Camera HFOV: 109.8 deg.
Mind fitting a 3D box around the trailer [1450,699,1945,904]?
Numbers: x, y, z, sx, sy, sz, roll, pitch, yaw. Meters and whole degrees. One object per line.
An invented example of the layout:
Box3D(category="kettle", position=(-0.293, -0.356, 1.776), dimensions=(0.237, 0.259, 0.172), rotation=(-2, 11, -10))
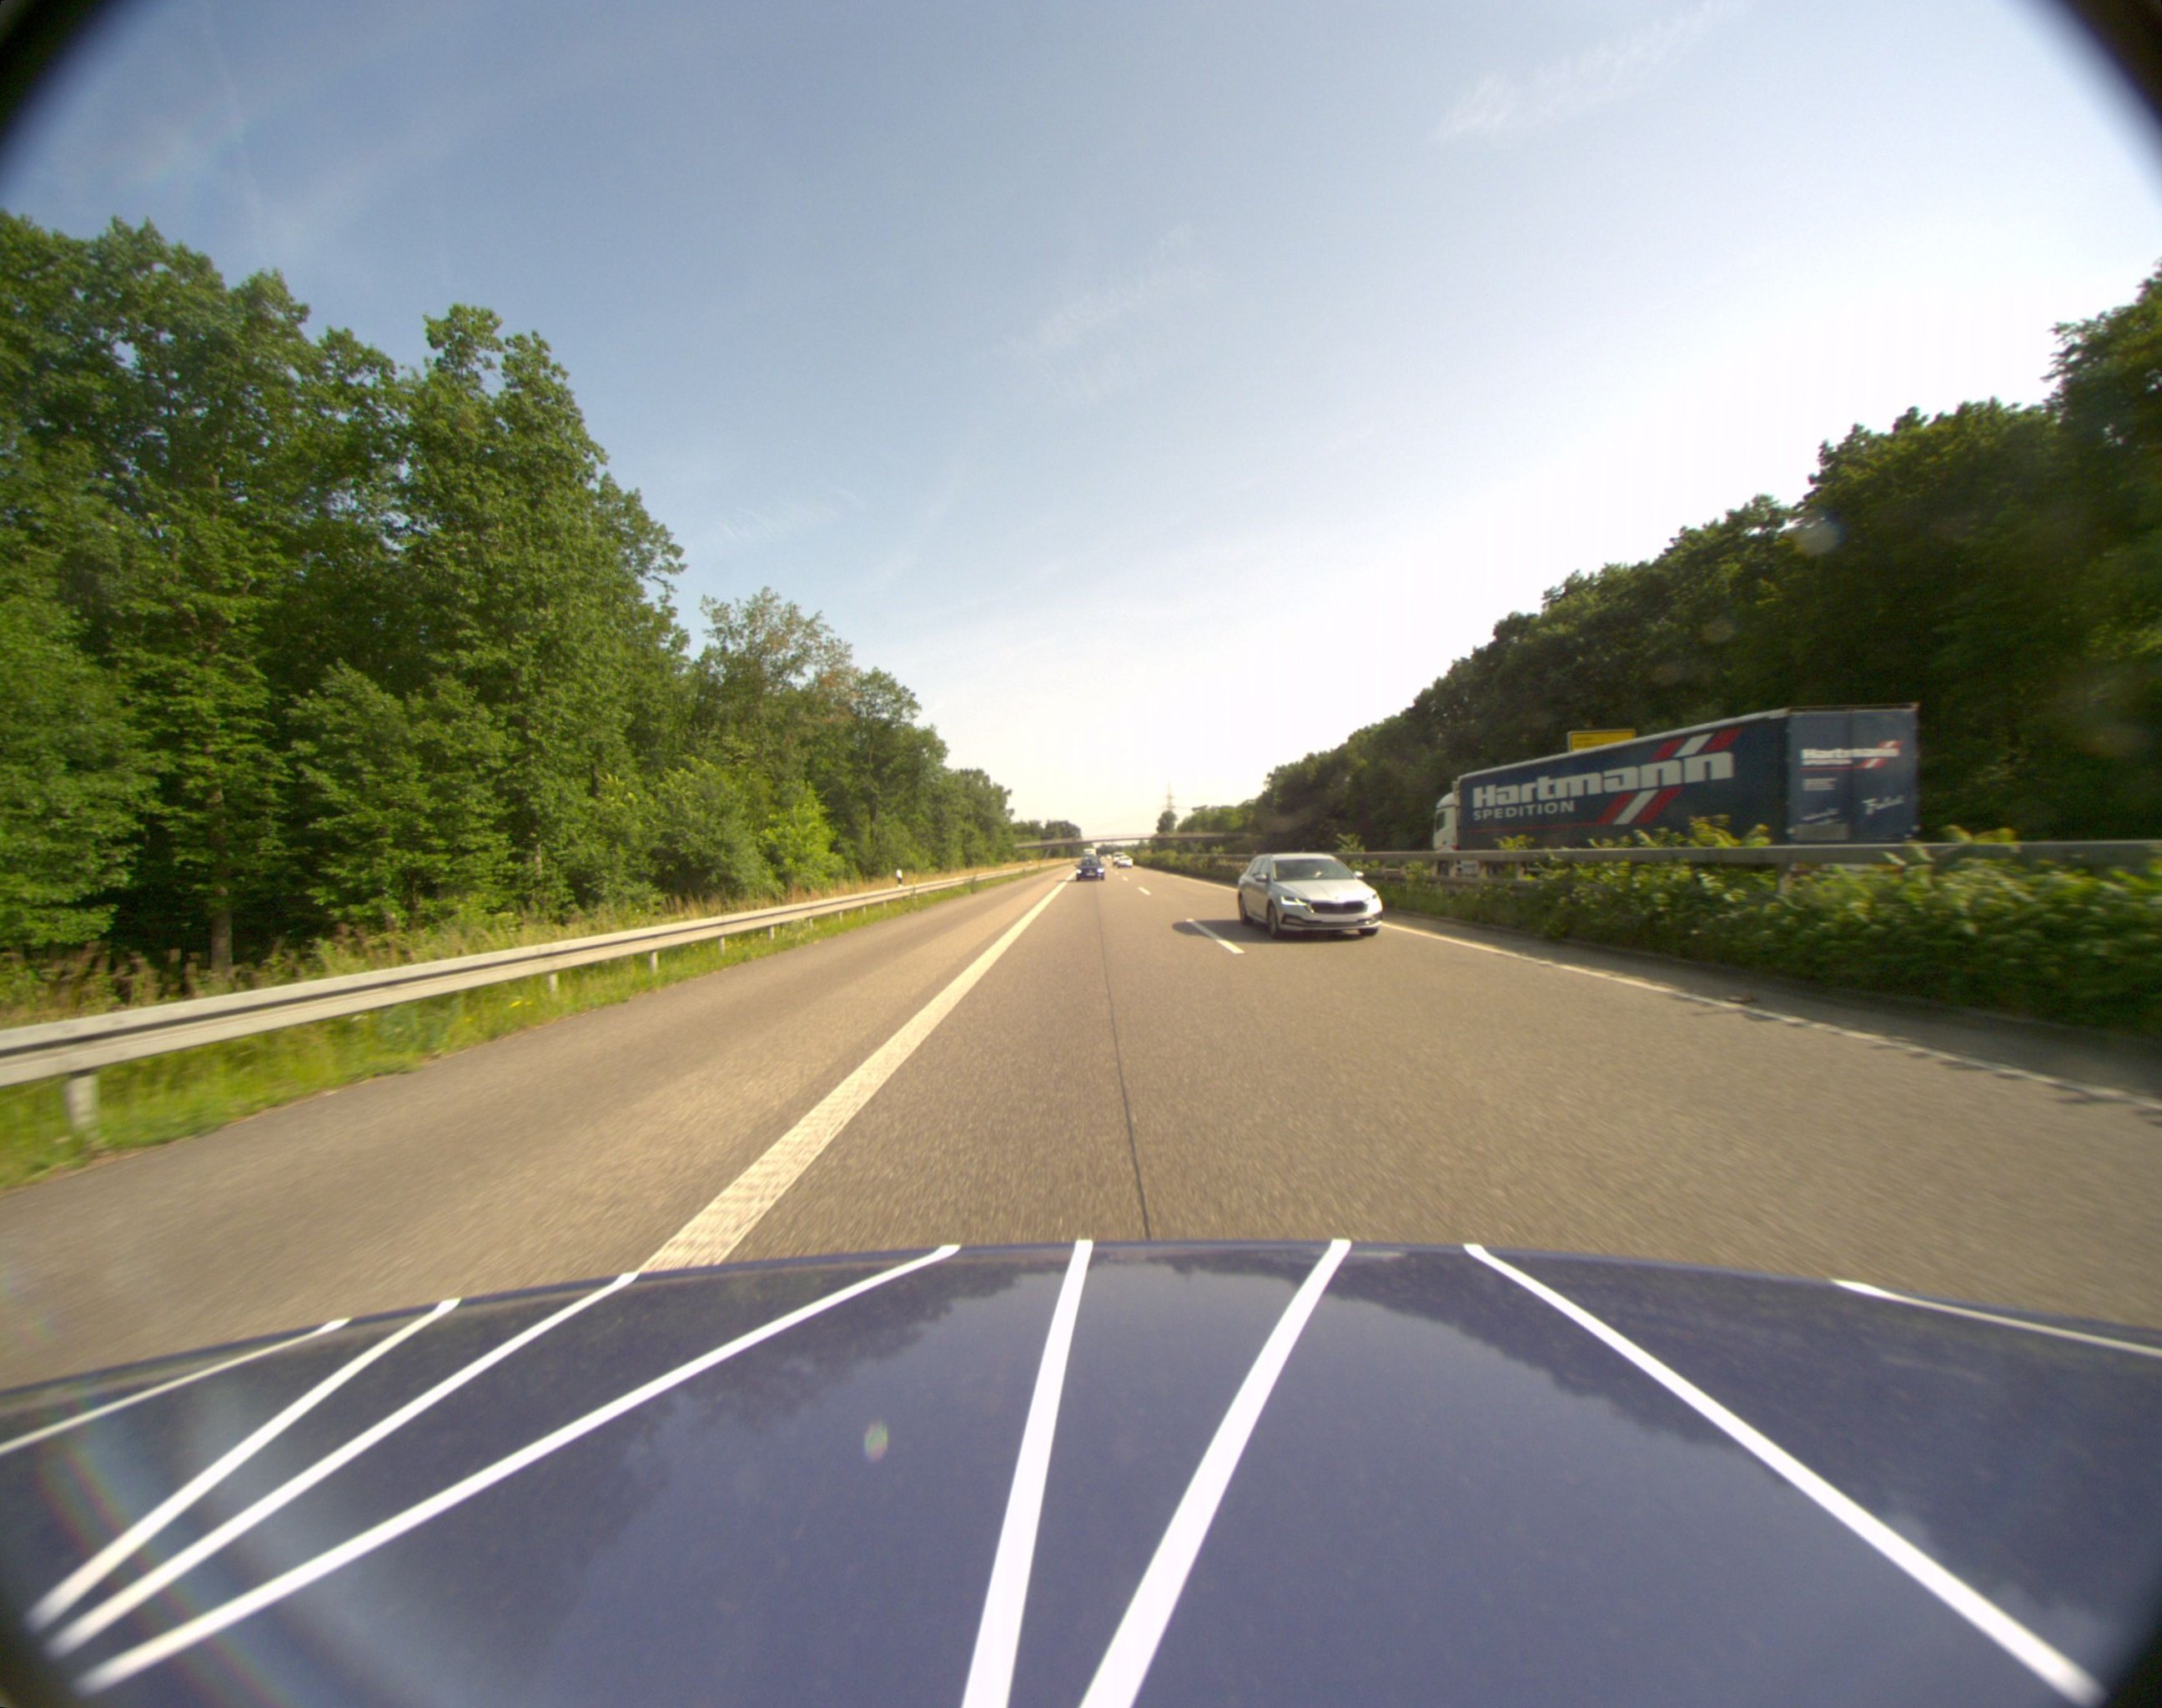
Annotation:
Box3D(category="trailer", position=(15.778, -1.051, 22.322), dimensions=(2.974, 4.046, 14.316), rotation=(-1, 0, 0))

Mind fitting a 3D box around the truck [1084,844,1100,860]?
Box3D(category="truck", position=(2.131, -0.466, 154.651), dimensions=(2.695, 3.020, 10.369), rotation=(-2, 0, -2))

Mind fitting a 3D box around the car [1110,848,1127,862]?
Box3D(category="car", position=(5.558, 0.161, 112.723), dimensions=(1.913, 1.934, 4.705), rotation=(-2, 0, -3))

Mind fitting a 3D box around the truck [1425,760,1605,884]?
Box3D(category="truck", position=(15.827, -1.057, 28.371), dimensions=(2.974, 4.047, 6.564), rotation=(-1, 0, 0))

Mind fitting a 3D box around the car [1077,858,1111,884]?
Box3D(category="car", position=(0.686, 0.949, 43.036), dimensions=(1.789, 1.285, 3.538), rotation=(-2, 0, -1))

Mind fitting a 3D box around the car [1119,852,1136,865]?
Box3D(category="car", position=(5.762, 0.532, 94.763), dimensions=(1.754, 1.477, 5.263), rotation=(-2, 0, 0))

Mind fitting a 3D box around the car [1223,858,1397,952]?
Box3D(category="car", position=(4.151, 0.821, 14.774), dimensions=(1.797, 1.430, 5.278), rotation=(-1, 0, 0))

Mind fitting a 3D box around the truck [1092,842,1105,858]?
Box3D(category="truck", position=(4.651, -1.124, 207.767), dimensions=(2.695, 4.062, 12.362), rotation=(-2, 0, -2))
